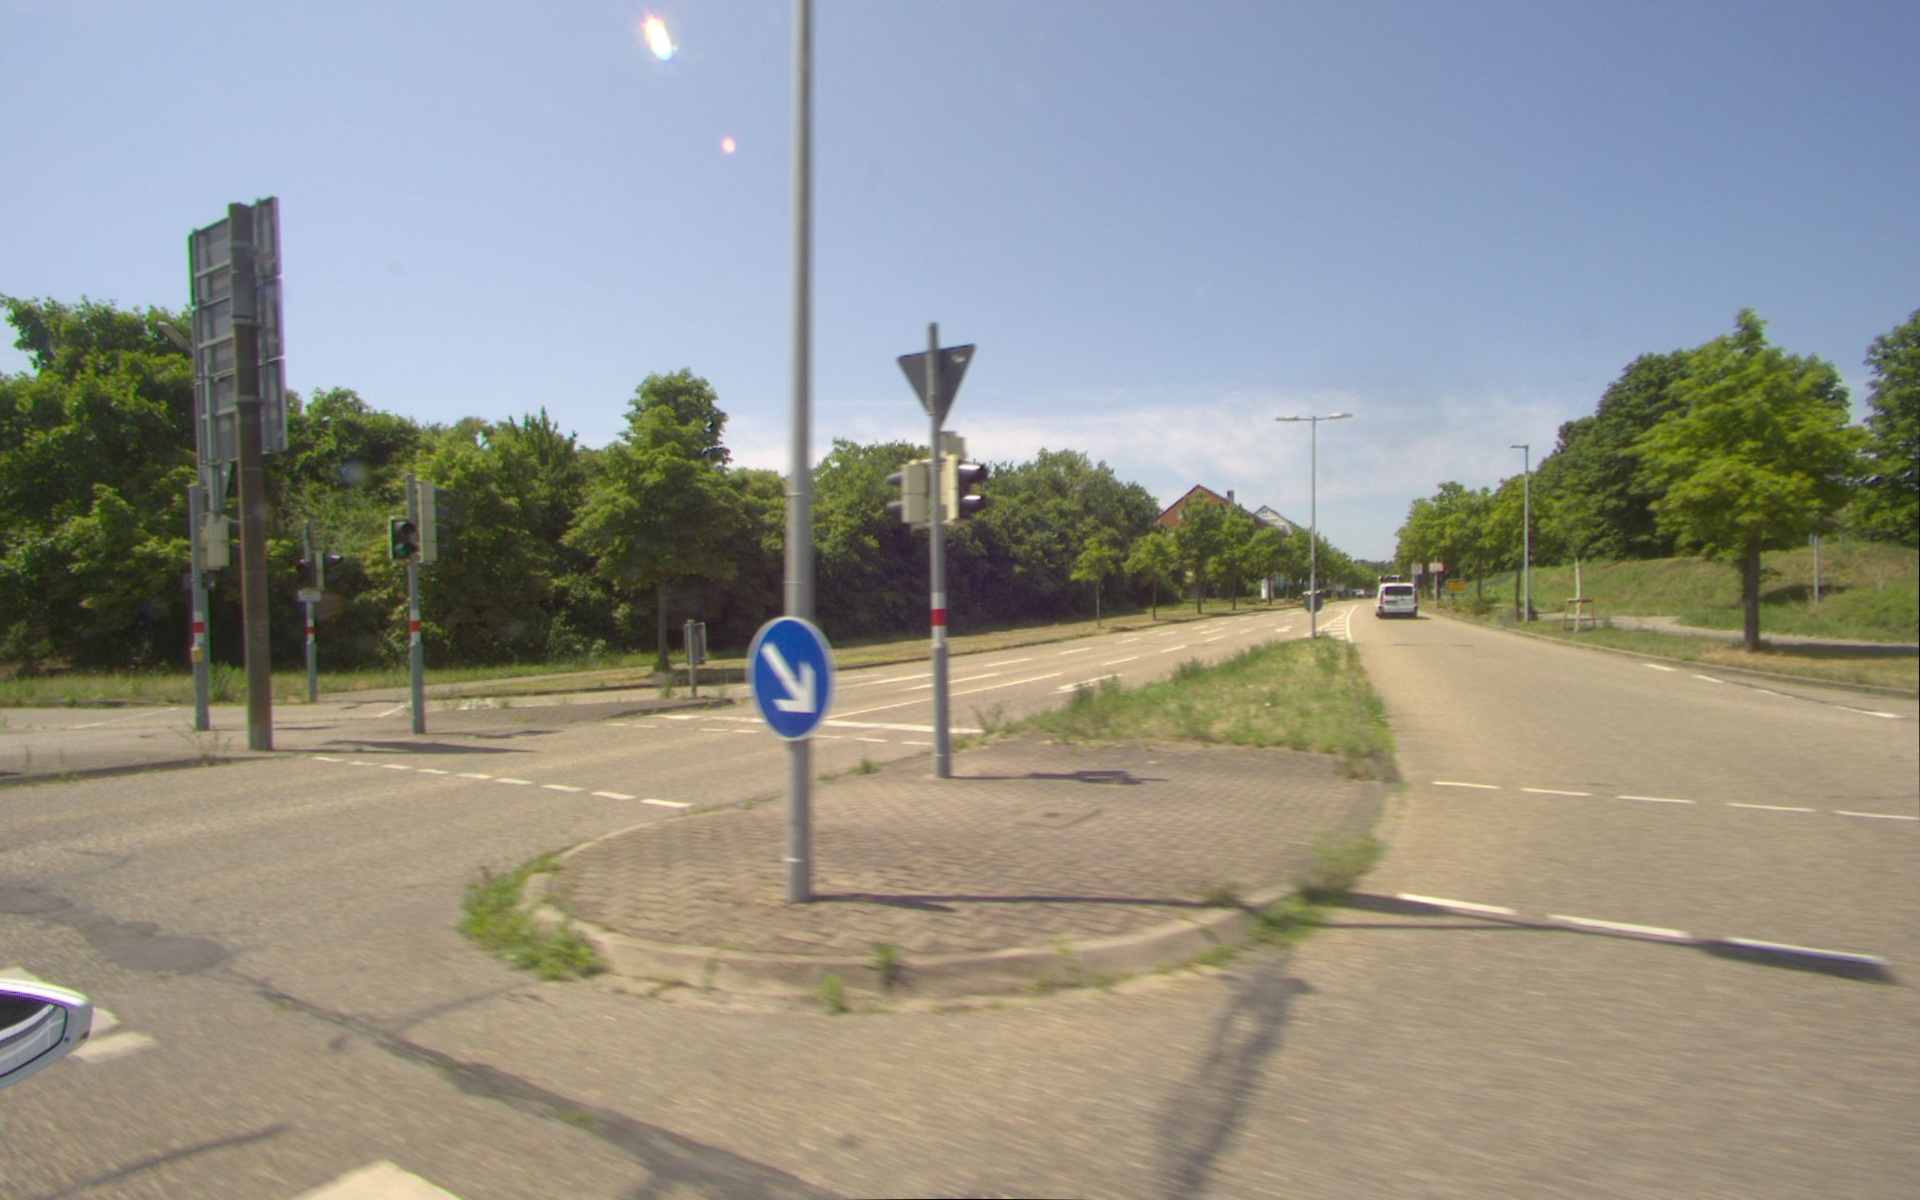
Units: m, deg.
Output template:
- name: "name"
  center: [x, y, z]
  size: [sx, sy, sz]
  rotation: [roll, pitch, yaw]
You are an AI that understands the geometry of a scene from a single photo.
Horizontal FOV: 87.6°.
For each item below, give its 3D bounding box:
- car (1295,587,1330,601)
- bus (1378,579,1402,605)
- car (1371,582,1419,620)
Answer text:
- name: "car"
  center: [42.986, -0.752, 122.165]
  size: [3.771, 1.571, 1.656]
  rotation: [-2, -3, 31]
- name: "bus"
  center: [57.843, -1.008, 134.455]
  size: [2.588, 3.127, 12.041]
  rotation: [0, -1, 25]
- name: "car"
  center: [23.004, 0.014, 53.101]
  size: [1.833, 1.843, 4.897]
  rotation: [0, 1, 18]
